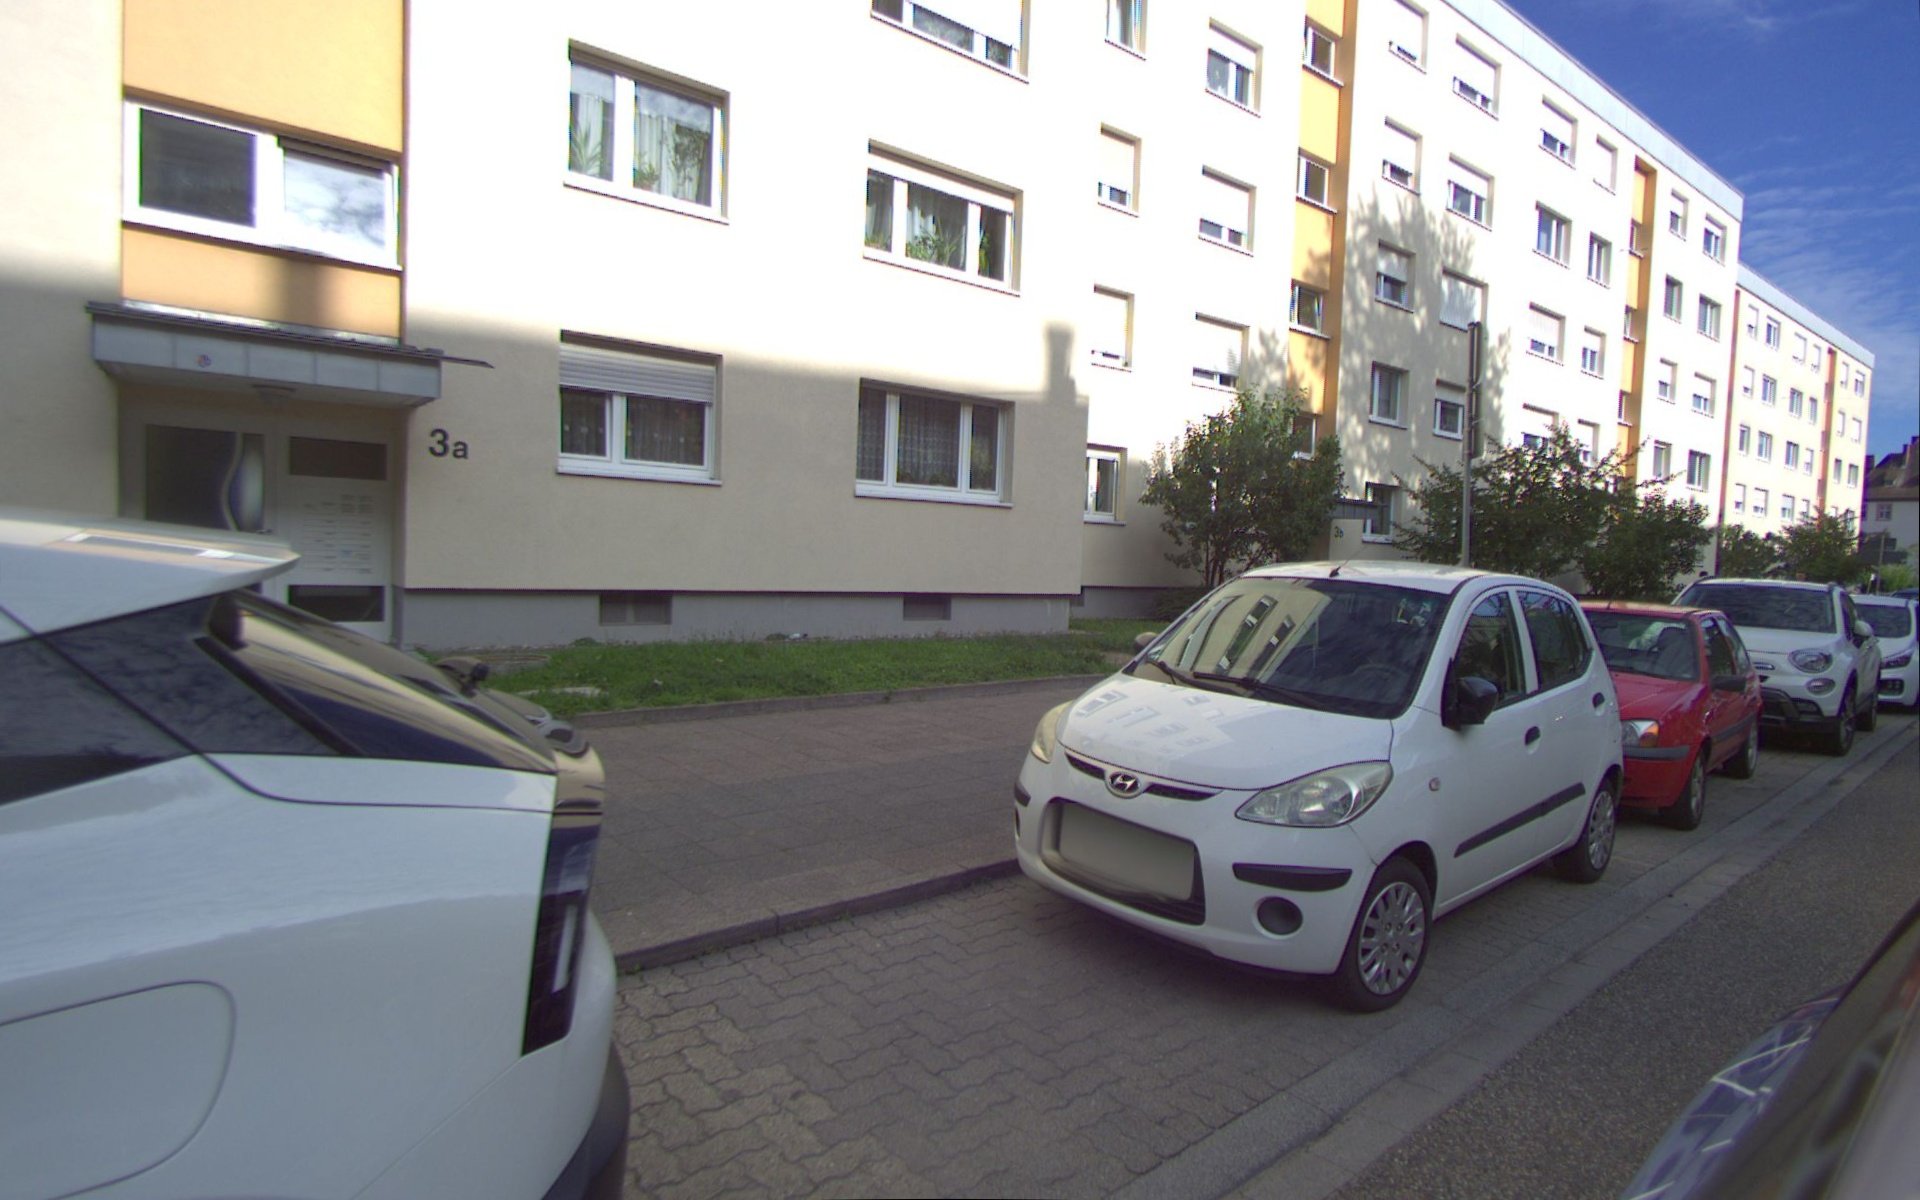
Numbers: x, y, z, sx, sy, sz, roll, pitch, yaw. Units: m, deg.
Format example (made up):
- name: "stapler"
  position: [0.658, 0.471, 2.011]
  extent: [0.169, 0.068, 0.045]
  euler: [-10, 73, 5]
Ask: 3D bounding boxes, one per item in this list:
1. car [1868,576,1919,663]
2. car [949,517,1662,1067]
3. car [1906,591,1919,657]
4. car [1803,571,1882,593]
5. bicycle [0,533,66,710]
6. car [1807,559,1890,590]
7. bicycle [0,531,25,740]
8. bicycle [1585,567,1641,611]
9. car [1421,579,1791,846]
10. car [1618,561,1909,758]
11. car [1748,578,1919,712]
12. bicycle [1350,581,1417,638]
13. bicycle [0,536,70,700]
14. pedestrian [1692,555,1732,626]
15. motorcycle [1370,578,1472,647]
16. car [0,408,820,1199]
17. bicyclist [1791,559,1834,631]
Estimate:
- name: "car"
  position: [20.611, 0.399, 21.184]
  extent: [4.043, 1.669, 1.733]
  euler: [-1, 5, -40]
- name: "car"
  position: [1.767, 0.509, 4.648]
  extent: [3.408, 1.575, 1.554]
  euler: [0, 5, -42]
- name: "car"
  position: [24.073, 0.591, 24.190]
  extent: [4.046, 1.478, 1.732]
  euler: [-1, 5, -42]
- name: "car"
  position: [66.685, -1.395, 76.494]
  extent: [1.833, 1.500, 4.096]
  euler: [0, 3, -31]
- name: "bicycle"
  position: [-6.991, 0.129, 6.265]
  extent: [2.170, 1.128, 0.598]
  euler: [0, 4, -41]
- name: "car"
  position: [68.737, -1.963, 78.368]
  extent: [2.321, 2.218, 4.286]
  euler: [0, 3, -33]
- name: "bicycle"
  position: [-6.598, 0.204, 5.520]
  extent: [2.170, 1.200, 0.598]
  euler: [0, 6, -41]
- name: "bicycle"
  position: [20.088, -0.343, 31.098]
  extent: [2.589, 1.307, 0.728]
  euler: [-1, 2, -41]
- name: "car"
  position: [4.928, 0.600, 7.516]
  extent: [1.516, 1.414, 3.617]
  euler: [6, 5, 45]
- name: "car"
  position: [8.535, 0.463, 10.624]
  extent: [4.048, 1.599, 1.731]
  euler: [-1, 5, -43]
- name: "car"
  position: [12.771, 0.507, 14.192]
  extent: [4.559, 1.505, 1.733]
  euler: [-1, 4, -40]
- name: "bicycle"
  position: [7.614, 0.162, 18.172]
  extent: [1.491, 0.952, 0.459]
  euler: [0, 4, -42]
- name: "bicycle"
  position: [-7.387, 0.117, 6.746]
  extent: [2.170, 1.128, 0.530]
  euler: [0, 4, -41]
- name: "pedestrian"
  position: [18.777, -0.245, 25.269]
  extent: [0.757, 1.743, 0.543]
  euler: [0, 2, -36]
- name: "motorcycle"
  position: [7.840, 0.192, 17.150]
  extent: [2.353, 1.057, 0.632]
  euler: [0, 5, -42]
- name: "car"
  position: [-2.346, 0.563, 0.747]
  extent: [4.162, 1.547, 1.694]
  euler: [0, 3, -40]
- name: "bicyclist"
  position: [20.701, -0.134, 24.568]
  extent: [0.877, 1.698, 0.624]
  euler: [0, 3, -42]
